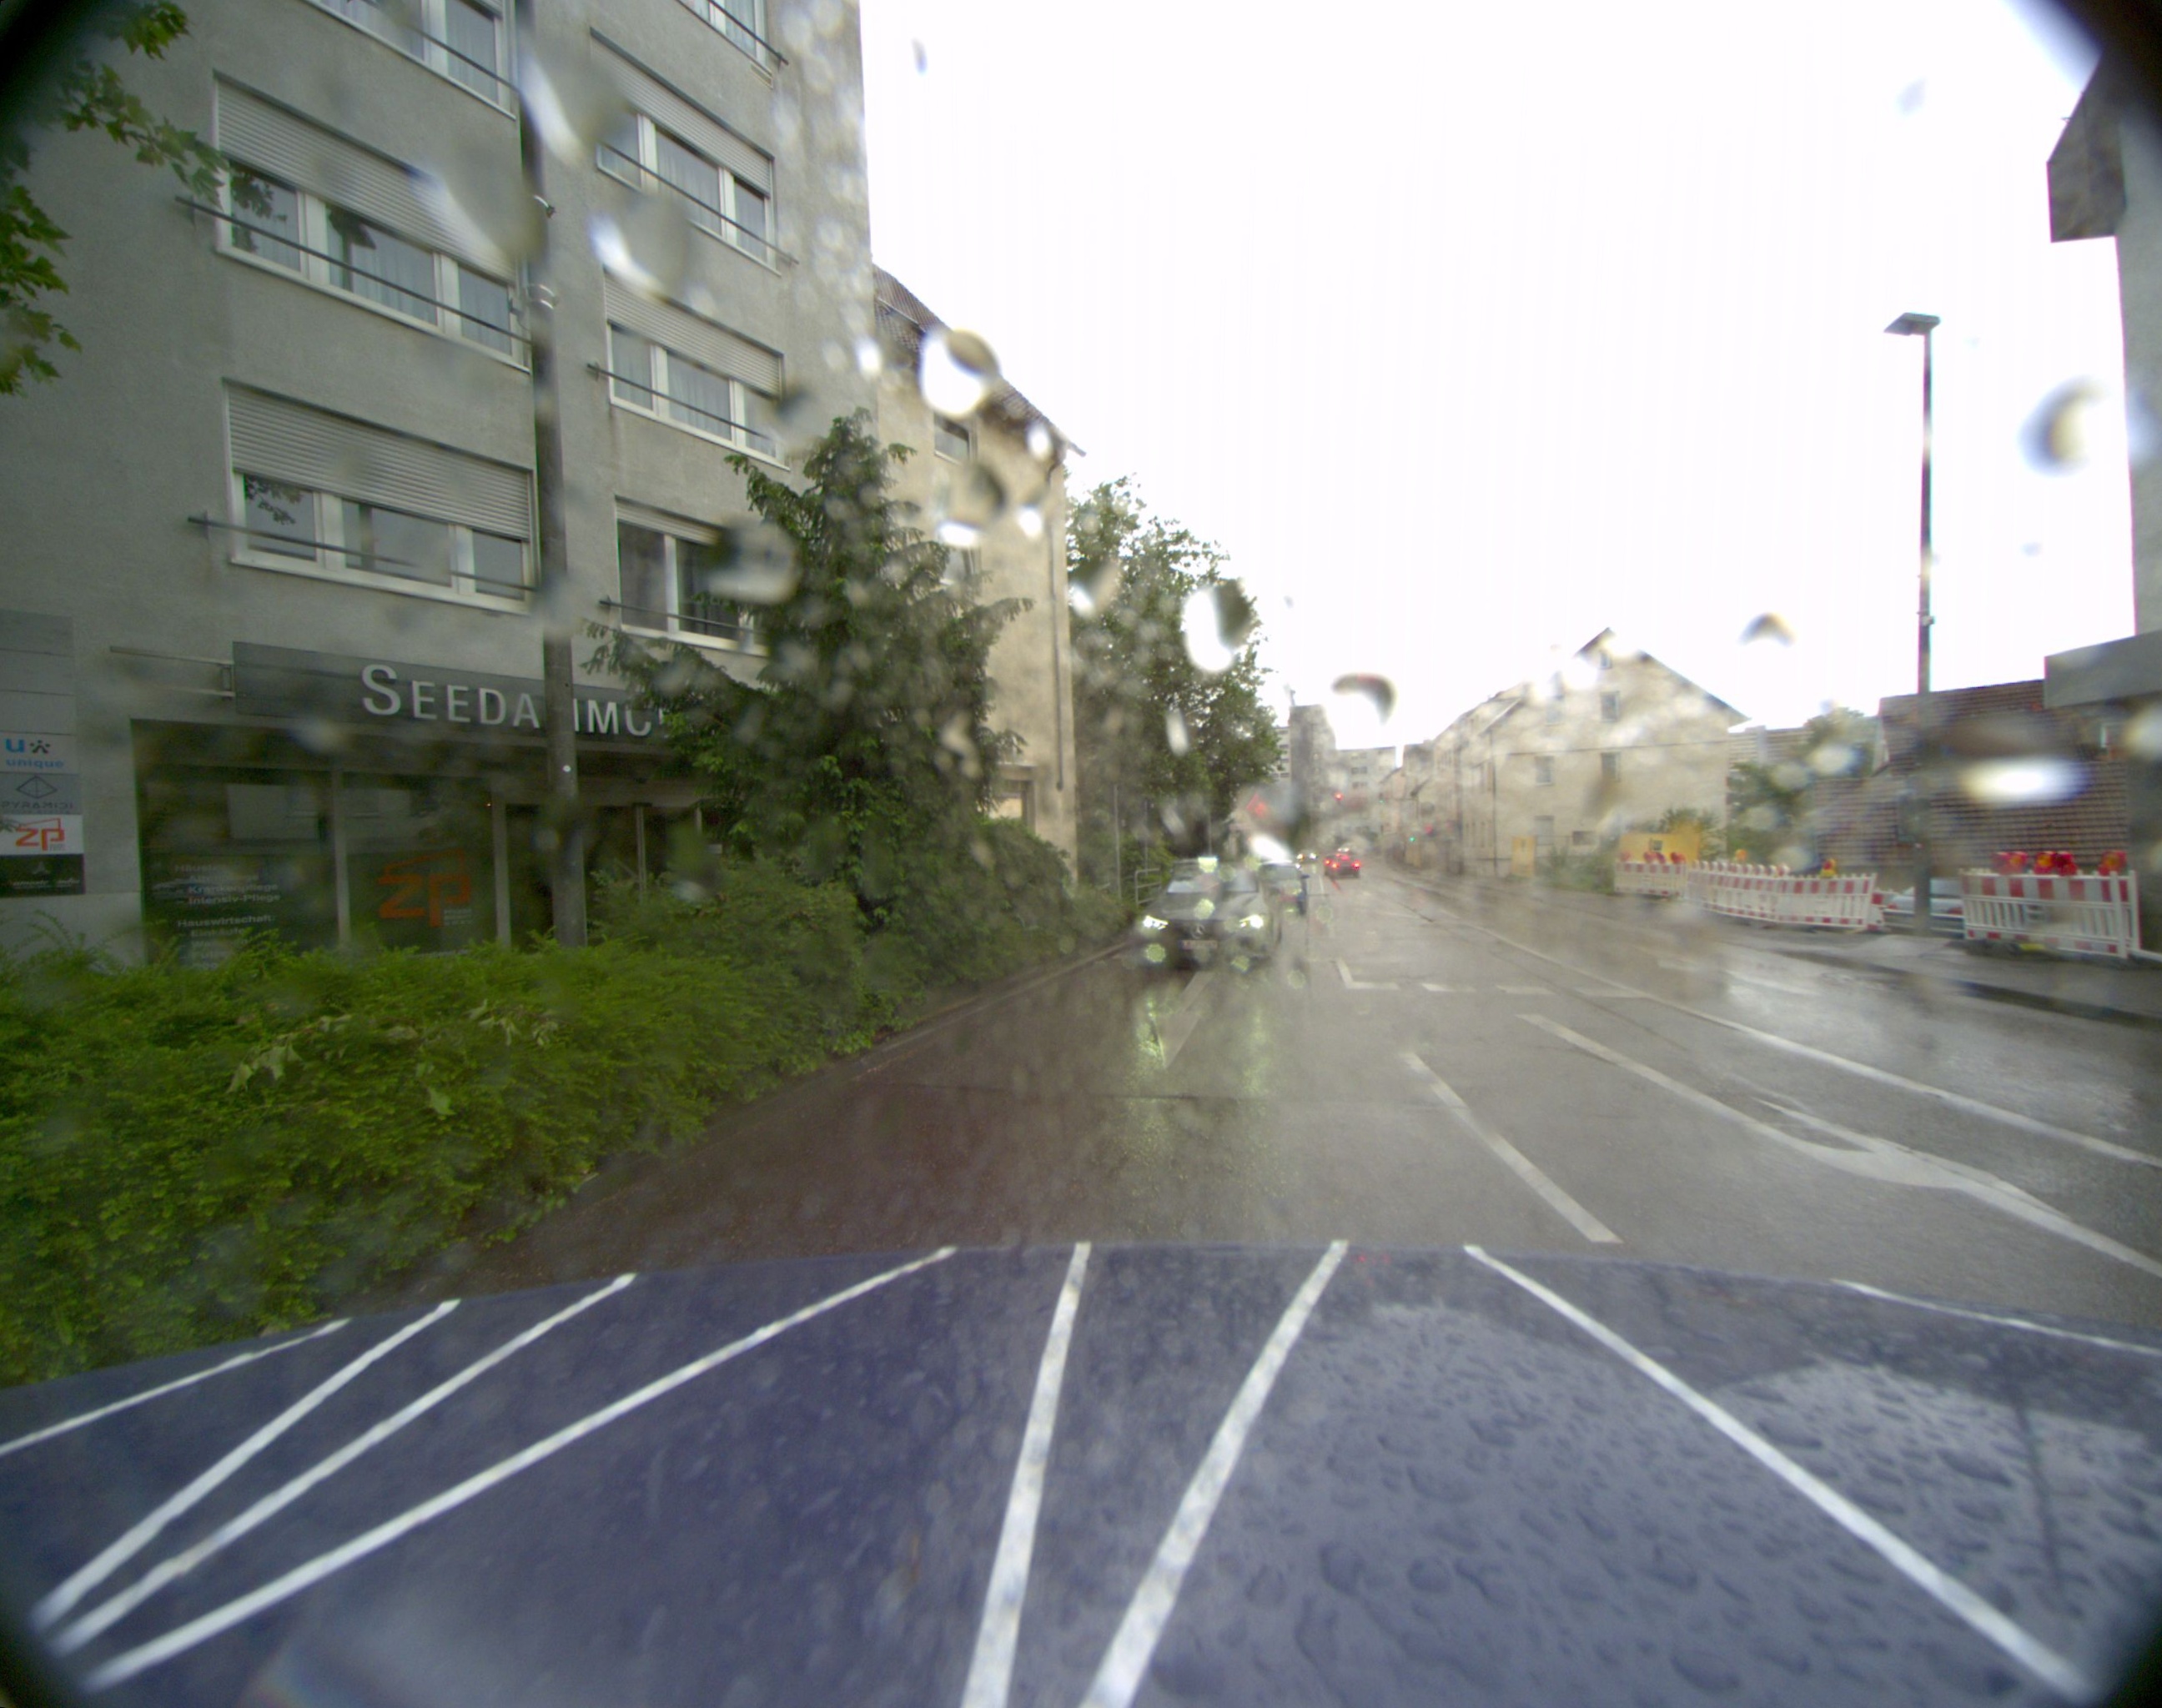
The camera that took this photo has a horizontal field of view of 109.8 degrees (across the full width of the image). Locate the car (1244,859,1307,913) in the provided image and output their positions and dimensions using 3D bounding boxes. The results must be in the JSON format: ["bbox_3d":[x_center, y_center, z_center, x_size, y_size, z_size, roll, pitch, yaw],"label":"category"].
[{"bbox_3d":[5.783,0.874,22.324,1.639,1.424,3.810,-1,0,17],"label":"car"}]

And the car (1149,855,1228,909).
[{"bbox_3d":[4.028,0.951,27.802,1.933,1.770,4.740,-1,0,20],"label":"car"}]

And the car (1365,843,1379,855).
[{"bbox_3d":[41.316,-0.702,107.734,1.817,1.562,4.282,-1,0,21],"label":"car"}]

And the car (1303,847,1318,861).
[{"bbox_3d":[26.710,0.028,88.336,1.548,1.525,3.693,-3,0,19],"label":"car"}]

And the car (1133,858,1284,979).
[{"bbox_3d":[2.245,0.898,12.290,1.818,1.562,4.281,-2,-1,17],"label":"car"}]

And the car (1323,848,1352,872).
[{"bbox_3d":[18.829,0.444,55.922,1.818,1.635,4.281,-2,-1,16],"label":"car"}]

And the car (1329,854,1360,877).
[{"bbox_3d":[17.134,0.717,49.485,1.709,1.375,3.674,-2,0,16],"label":"car"}]

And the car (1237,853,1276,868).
[{"bbox_3d":[17.672,0.648,76.499,4.007,1.452,1.683,-2,0,-38],"label":"car"}]

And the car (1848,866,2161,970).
[{"bbox_3d":[16.310,1.088,13.445,3.505,1.382,1.653,6,-1,8],"label":"car"}]

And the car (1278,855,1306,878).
[{"bbox_3d":[14.484,0.809,52.040,1.684,1.452,4.005,-2,0,18],"label":"car"}]

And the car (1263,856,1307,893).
[{"bbox_3d":[8.710,0.834,32.553,1.685,1.413,4.004,-2,0,14],"label":"car"}]

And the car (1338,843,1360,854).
[{"bbox_3d":[39.752,-0.784,112.535,1.612,1.495,3.725,-3,-1,44],"label":"car"}]
